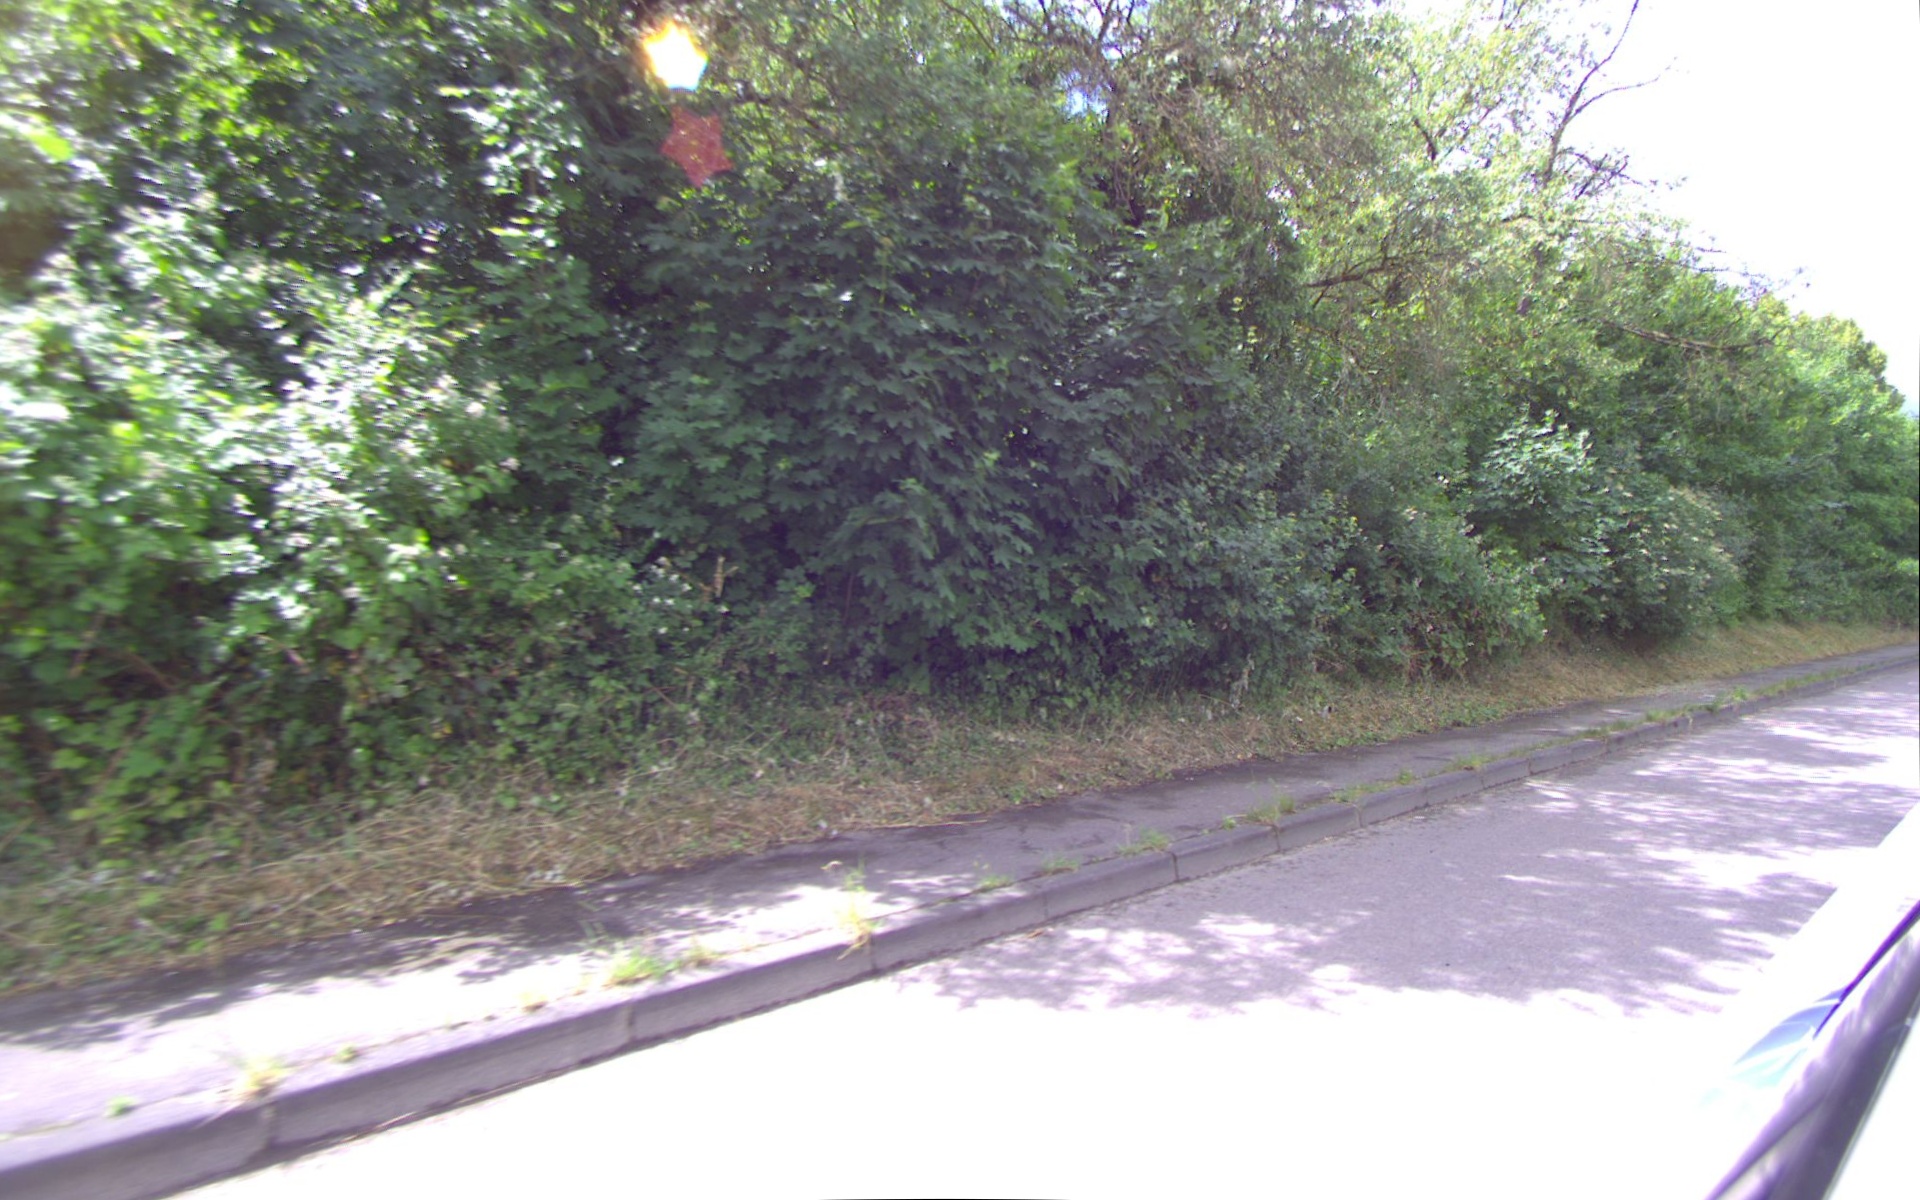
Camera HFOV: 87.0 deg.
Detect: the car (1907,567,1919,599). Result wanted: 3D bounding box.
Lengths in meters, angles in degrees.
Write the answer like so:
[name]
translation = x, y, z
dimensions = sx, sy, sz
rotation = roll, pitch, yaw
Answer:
[car]
translation = 56.025, -0.681, 56.218
dimensions = 1.963, 1.689, 4.546
rotation = -3, 10, -36
